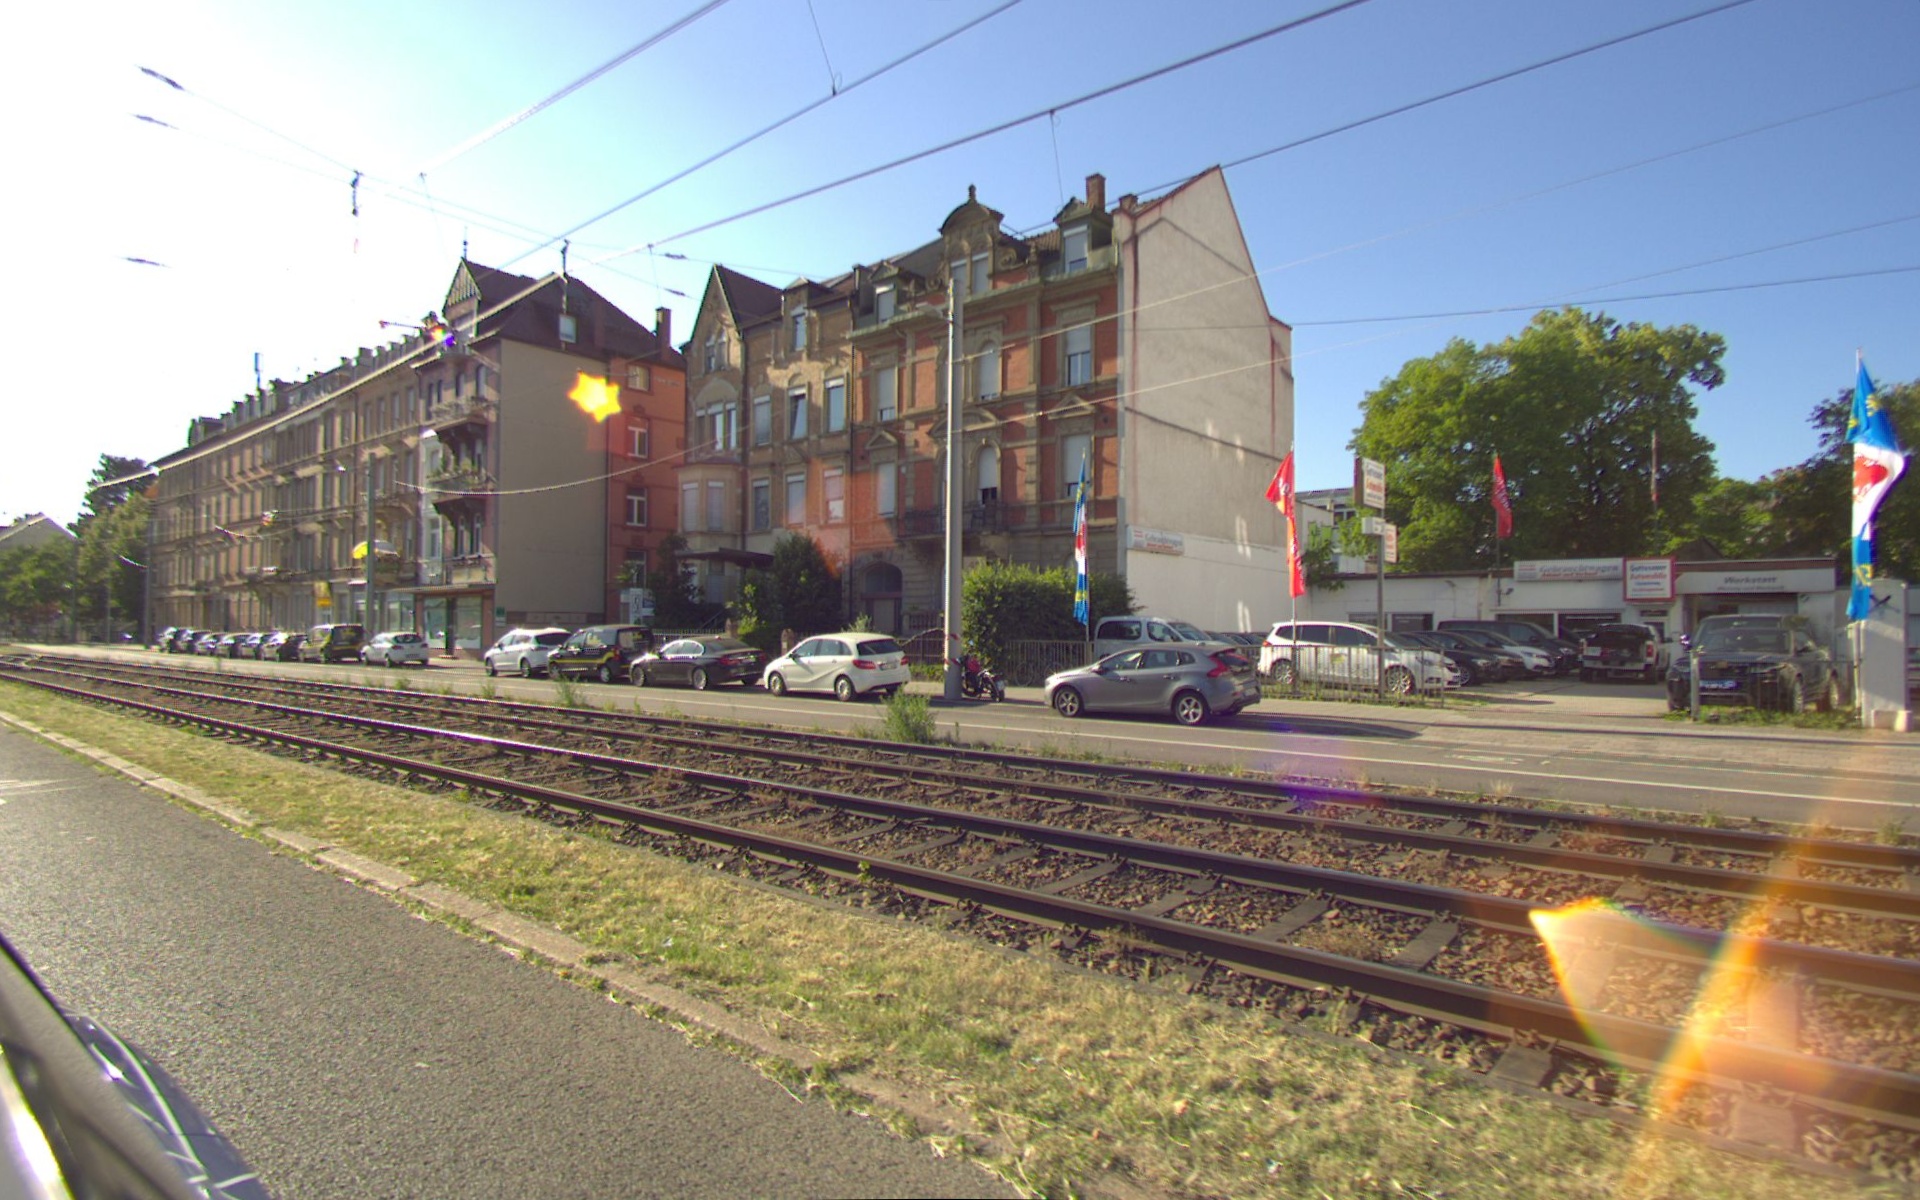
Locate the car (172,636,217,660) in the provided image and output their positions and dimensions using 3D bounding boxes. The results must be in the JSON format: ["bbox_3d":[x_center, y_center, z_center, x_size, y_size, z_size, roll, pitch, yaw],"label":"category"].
[{"bbox_3d":[-50.587,3.164,66.831,3.763,1.457,1.642,-1,-1,41],"label":"car"}]

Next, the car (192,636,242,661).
[{"bbox_3d":[-46.272,2.974,63.008,4.194,1.457,1.642,-1,-1,41],"label":"car"}]

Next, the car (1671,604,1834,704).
[{"bbox_3d":[17.684,1.176,22.536,4.019,2.018,1.991,2,-4,-40],"label":"car"}]

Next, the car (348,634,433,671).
[{"bbox_3d":[-25.673,2.319,45.597,4.625,1.550,1.901,-1,-1,41],"label":"car"}]

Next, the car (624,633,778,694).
[{"bbox_3d":[-7.604,1.782,29.487,4.838,1.572,1.901,-2,-1,40],"label":"car"}]

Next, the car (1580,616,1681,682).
[{"bbox_3d":[20.943,1.516,31.546,1.939,1.900,3.941,0,-3,44],"label":"car"}]

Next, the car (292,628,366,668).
[{"bbox_3d":[-30.857,2.301,49.442,4.723,1.821,1.643,-1,-1,39],"label":"car"}]

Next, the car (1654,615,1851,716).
[{"bbox_3d":[14.526,1.173,18.486,4.076,1.646,1.954,2,-5,-40],"label":"car"}]

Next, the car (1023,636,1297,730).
[{"bbox_3d":[3.745,1.485,19.478,4.837,1.471,1.902,-2,1,39],"label":"car"}]

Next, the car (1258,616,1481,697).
[{"bbox_3d":[9.691,1.278,24.208,4.564,1.668,1.882,1,-2,44],"label":"car"}]

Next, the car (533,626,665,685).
[{"bbox_3d":[-11.922,1.783,33.301,4.490,1.794,1.903,-2,-1,37],"label":"car"}]

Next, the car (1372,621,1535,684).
[{"bbox_3d":[14.698,1.506,30.265,4.001,1.698,1.904,0,0,44],"label":"car"}]

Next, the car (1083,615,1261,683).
[{"bbox_3d":[5.856,1.318,28.304,4.564,1.668,1.882,1,-2,44],"label":"car"}]

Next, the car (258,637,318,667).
[{"bbox_3d":[-35.151,2.679,52.907,3.978,1.457,1.642,-1,-1,41],"label":"car"}]

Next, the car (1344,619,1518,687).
[{"bbox_3d":[13.102,1.410,28.288,4.001,1.698,1.904,0,0,44],"label":"car"}]

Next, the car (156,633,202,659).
[{"bbox_3d":[-53.819,3.159,69.712,4.630,1.655,1.775,-2,-1,43],"label":"car"}]

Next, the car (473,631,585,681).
[{"bbox_3d":[-15.615,1.971,36.552,4.624,1.696,1.901,-2,-2,41],"label":"car"}]

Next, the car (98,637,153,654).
[{"bbox_3d":[-82.474,4.488,100.062,3.931,1.522,1.806,-1,0,-28],"label":"car"}]

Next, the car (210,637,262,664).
[{"bbox_3d":[-42.914,2.963,59.961,3.978,1.457,1.642,-1,-1,41],"label":"car"}]

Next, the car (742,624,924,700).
[{"bbox_3d":[-3.301,1.491,25.584,4.842,1.707,1.900,-2,-1,43],"label":"car"}]

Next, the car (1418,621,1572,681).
[{"bbox_3d":[17.090,1.574,32.412,4.001,1.698,1.904,0,0,44],"label":"car"}]

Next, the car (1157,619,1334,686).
[{"bbox_3d":[8.141,1.462,29.162,4.564,1.668,1.882,1,-2,44],"label":"car"}]

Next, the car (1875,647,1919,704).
[{"bbox_3d":[27.281,2.114,28.655,1.798,1.522,3.947,-2,-3,40],"label":"car"}]

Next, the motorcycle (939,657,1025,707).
[{"bbox_3d":[0.472,1.826,22.845,0.815,0.961,2.157,-1,0,-35],"label":"motorcycle"}]

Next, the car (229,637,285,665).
[{"bbox_3d":[-39.365,2.814,56.642,3.978,1.457,1.642,-1,-1,41],"label":"car"}]

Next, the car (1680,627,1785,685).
[{"bbox_3d":[23.407,1.636,30.612,3.937,1.515,1.739,-1,0,-40],"label":"car"}]
